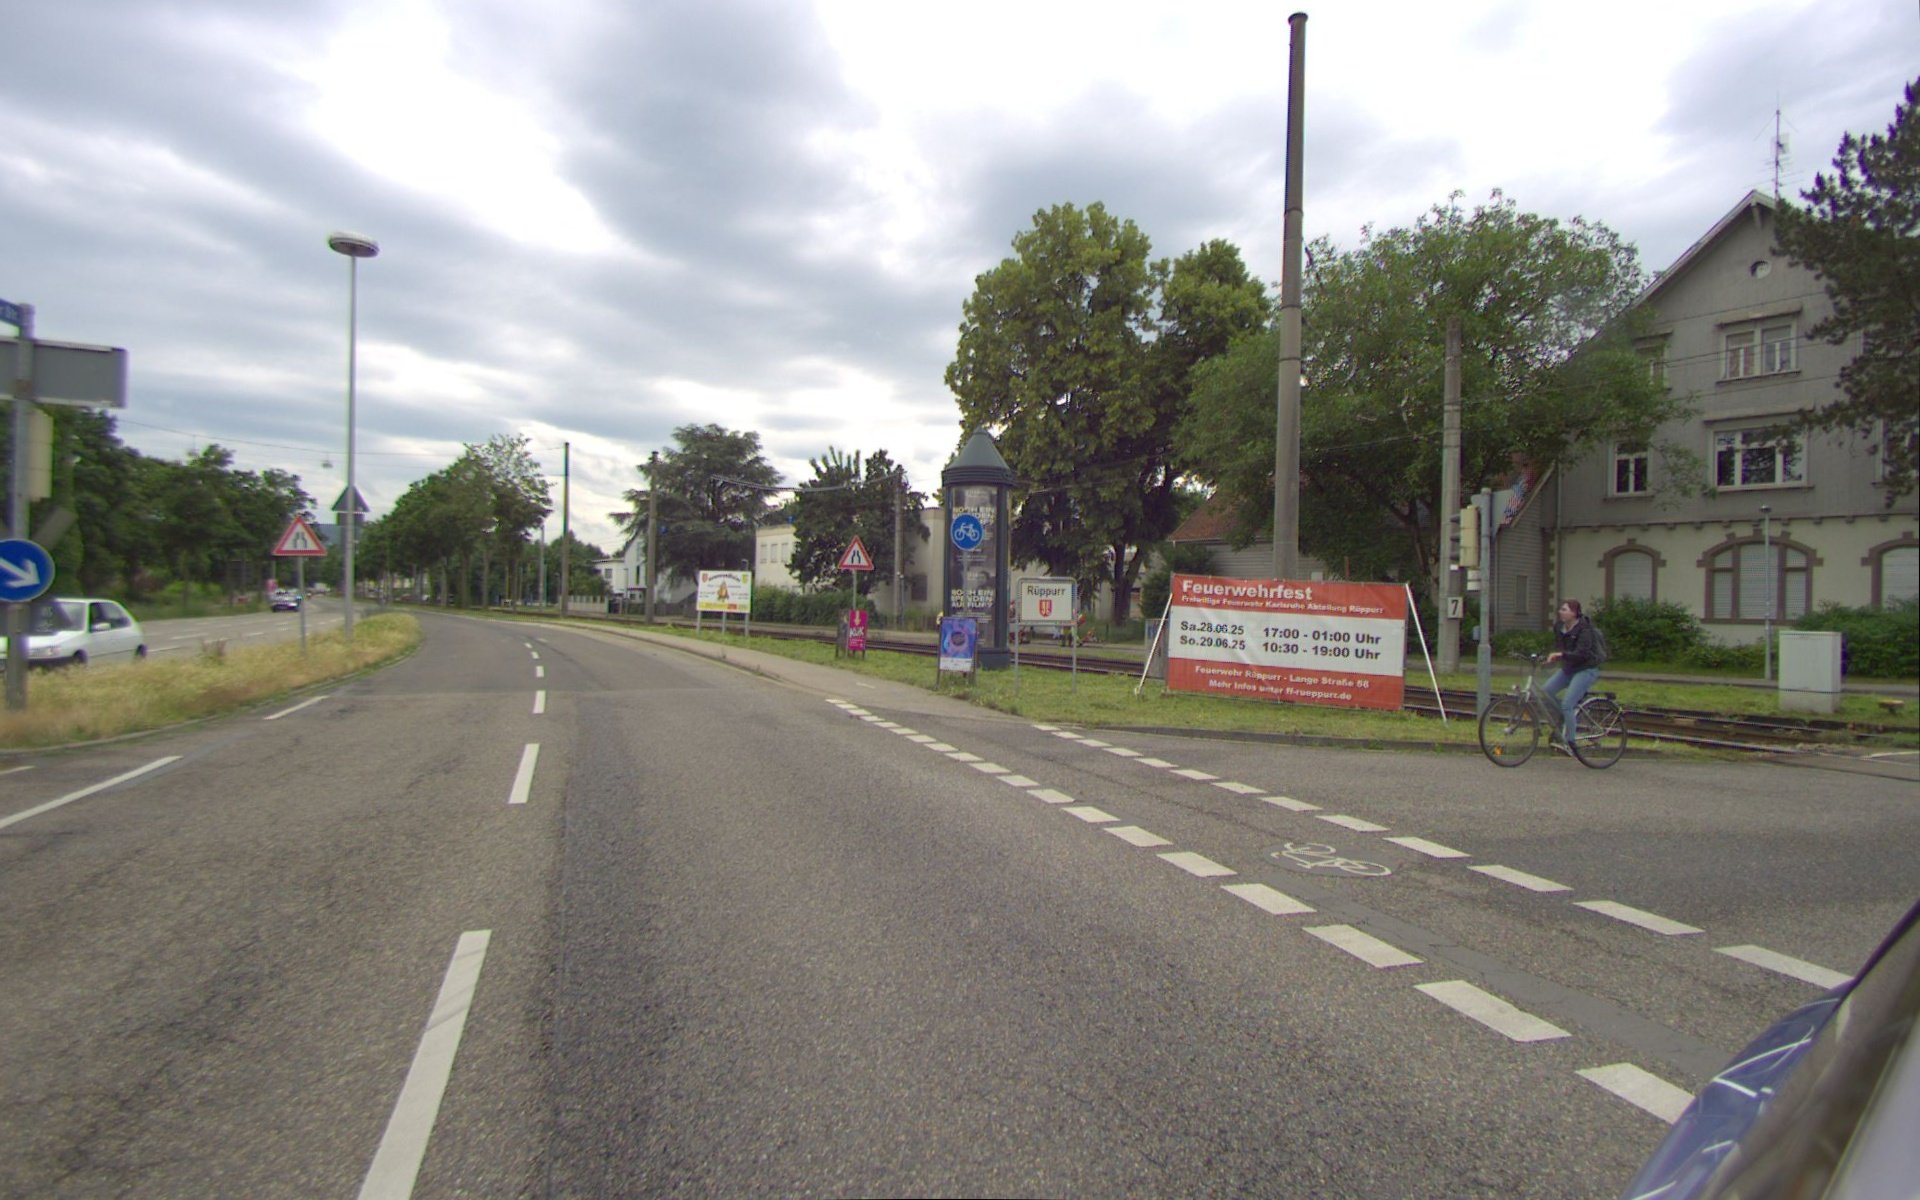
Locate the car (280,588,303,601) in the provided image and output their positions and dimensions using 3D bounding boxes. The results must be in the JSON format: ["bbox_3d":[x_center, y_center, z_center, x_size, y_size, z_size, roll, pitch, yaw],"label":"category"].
[{"bbox_3d":[-83.472,-0.692,126.361,1.723,1.594,4.007,1,0,-24],"label":"car"}]

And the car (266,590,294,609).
[{"bbox_3d":[-57.427,-0.051,85.544,1.628,1.549,3.894,1,0,-30],"label":"car"}]

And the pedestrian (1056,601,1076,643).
[{"bbox_3d":[4.503,0.922,42.910,0.626,1.785,0.574,1,-1,-44],"label":"pedestrian"}]

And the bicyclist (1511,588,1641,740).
[{"bbox_3d":[6.147,0.631,10.118,0.941,1.444,0.624,1,-4,-24],"label":"bicyclist"}]

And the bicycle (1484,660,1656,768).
[{"bbox_3d":[6.097,1.117,10.084,1.987,0.993,0.384,2,-1,-24],"label":"bicycle"}]

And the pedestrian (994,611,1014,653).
[{"bbox_3d":[1.952,1.415,45.097,0.704,1.863,0.605,1,-1,21],"label":"pedestrian"}]

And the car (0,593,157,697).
[{"bbox_3d":[-13.982,0.594,15.419,1.613,1.374,4.158,1,0,-23],"label":"car"}]

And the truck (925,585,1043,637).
[{"bbox_3d":[1.047,0.483,49.104,2.554,2.322,6.414,1,0,-33],"label":"truck"}]

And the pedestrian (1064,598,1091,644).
[{"bbox_3d":[4.888,0.880,42.062,0.855,1.878,0.681,2,-1,-22],"label":"pedestrian"}]
